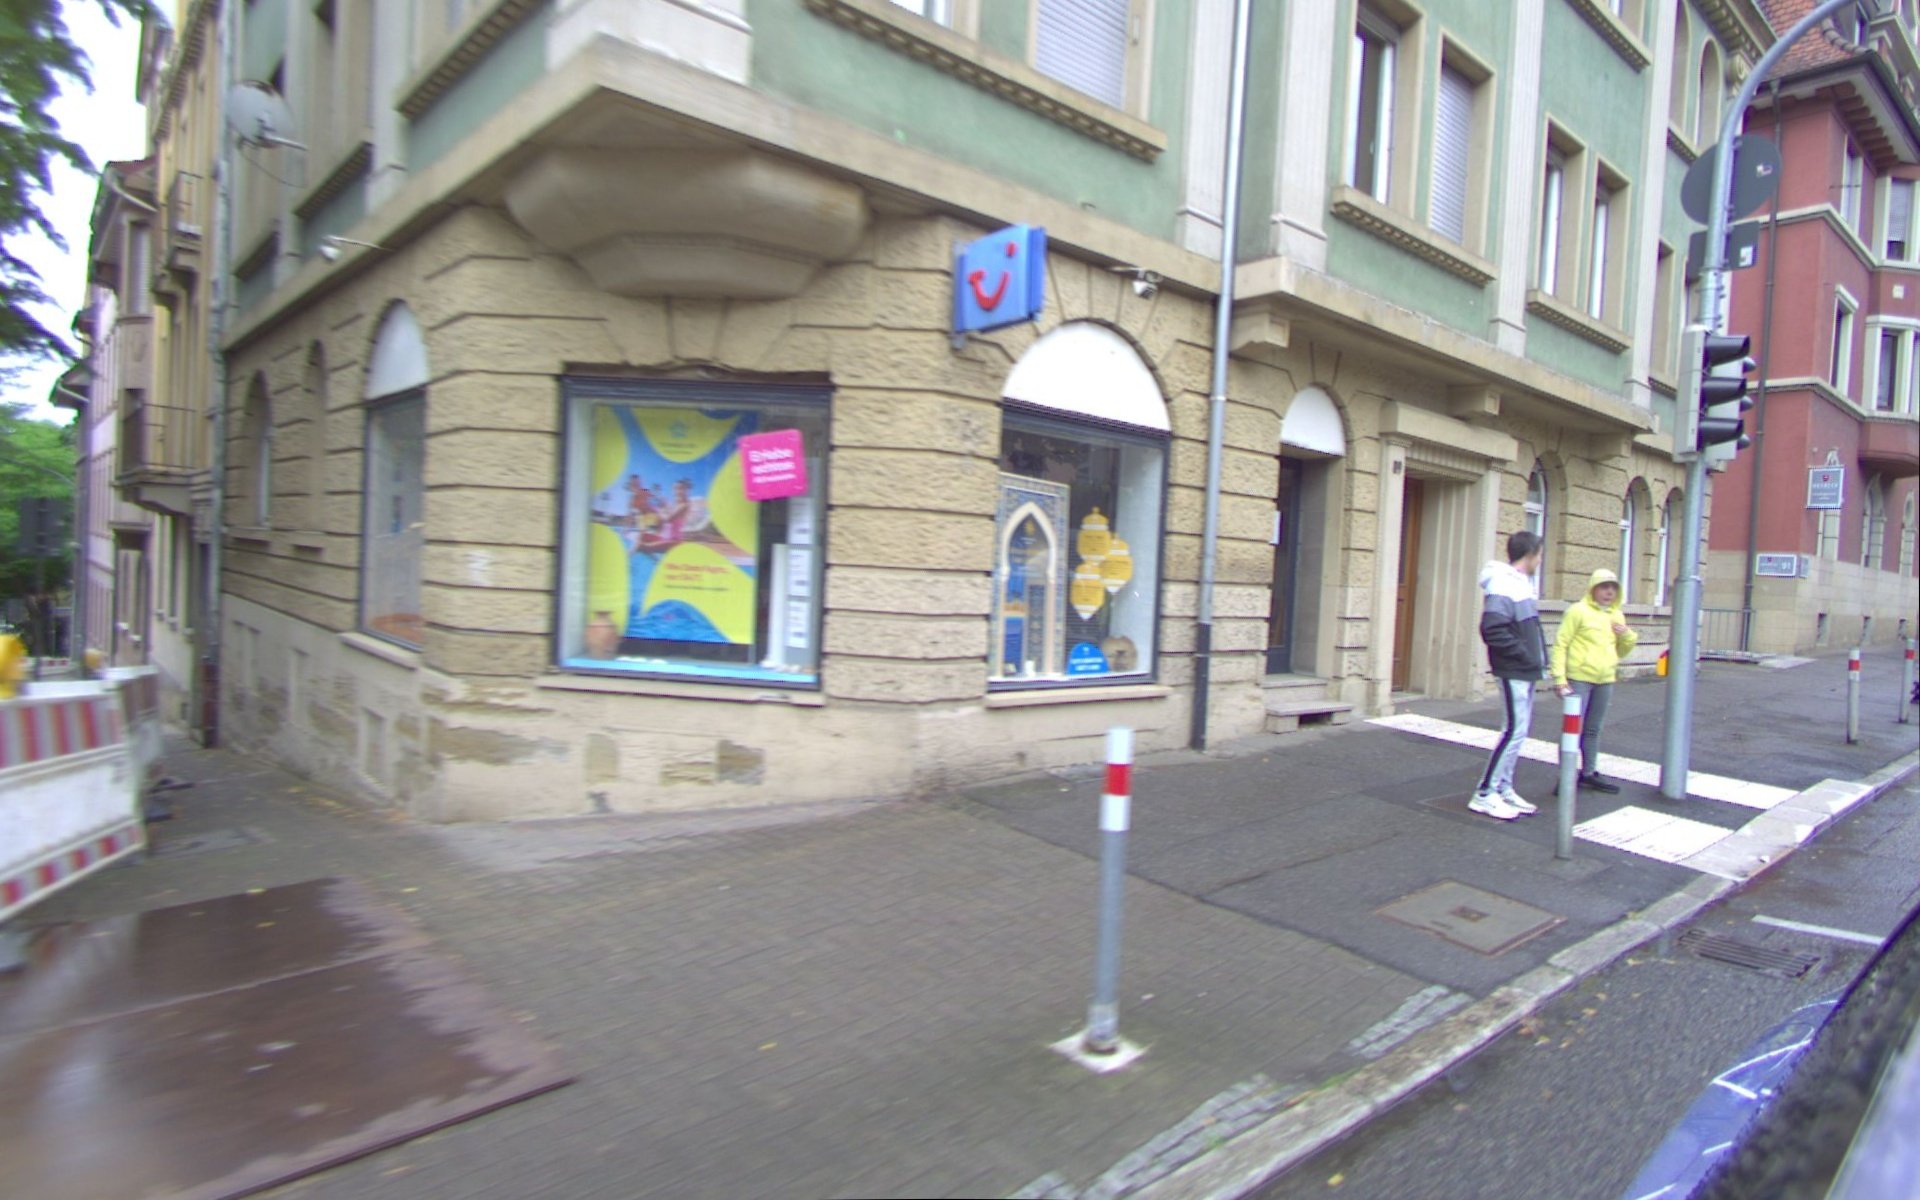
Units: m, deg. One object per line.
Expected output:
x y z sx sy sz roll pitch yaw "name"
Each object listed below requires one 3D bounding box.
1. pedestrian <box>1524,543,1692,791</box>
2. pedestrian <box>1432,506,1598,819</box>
4.452 0.427 7.000 0.587 1.603 0.666 3 4 -1 "pedestrian"
3.460 0.337 6.309 0.663 1.795 0.710 6 5 40 "pedestrian"
